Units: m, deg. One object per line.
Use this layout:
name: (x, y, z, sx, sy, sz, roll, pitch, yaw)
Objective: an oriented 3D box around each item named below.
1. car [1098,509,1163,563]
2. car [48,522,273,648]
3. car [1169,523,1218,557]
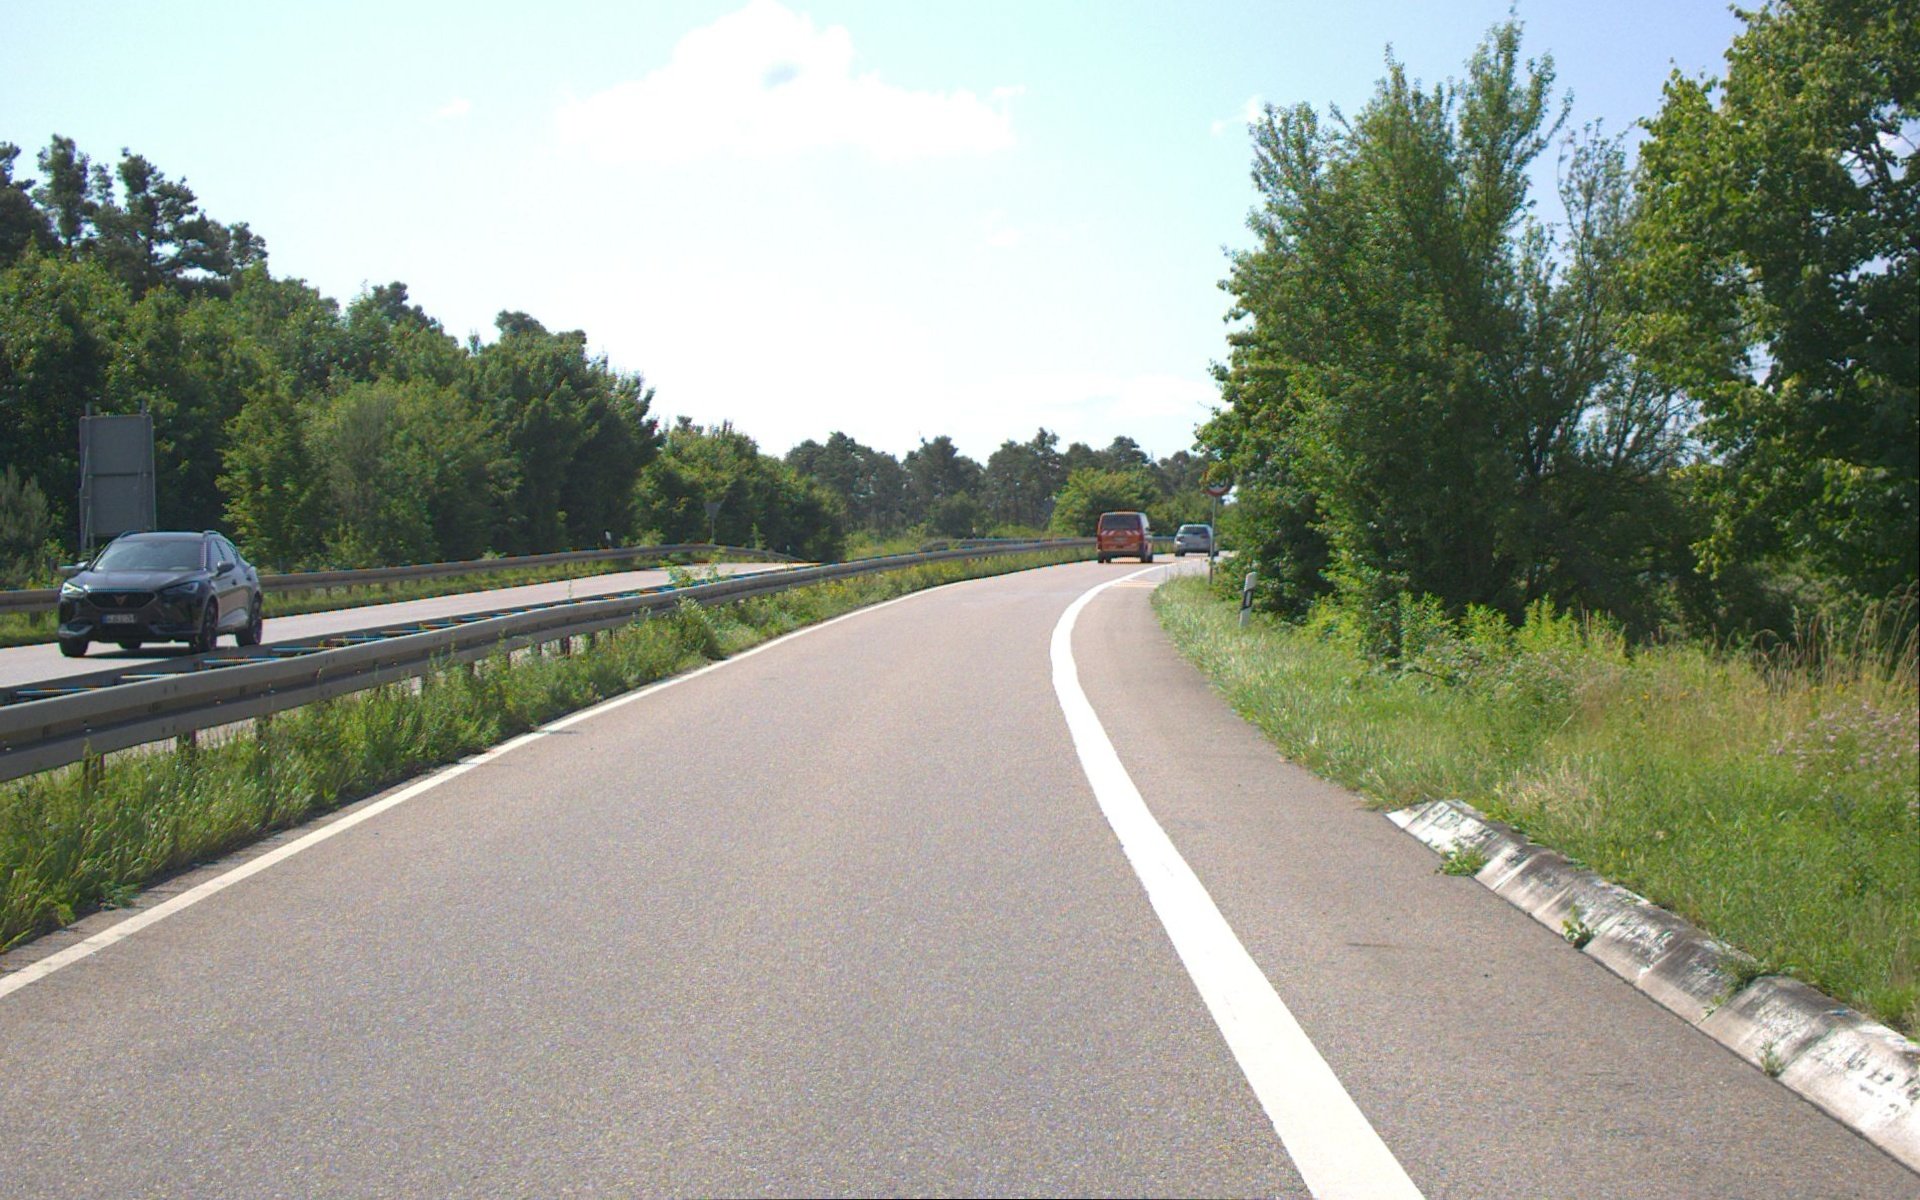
car: (6.593, -2.452, 132.570, 2.078, 1.986, 5.110, 1, 0, 7)
car: (-9.997, -0.226, 43.303, 1.755, 1.495, 4.574, 0, 1, 0)
car: (10.681, -2.730, 157.031, 2.008, 1.488, 4.237, 1, 0, 7)
